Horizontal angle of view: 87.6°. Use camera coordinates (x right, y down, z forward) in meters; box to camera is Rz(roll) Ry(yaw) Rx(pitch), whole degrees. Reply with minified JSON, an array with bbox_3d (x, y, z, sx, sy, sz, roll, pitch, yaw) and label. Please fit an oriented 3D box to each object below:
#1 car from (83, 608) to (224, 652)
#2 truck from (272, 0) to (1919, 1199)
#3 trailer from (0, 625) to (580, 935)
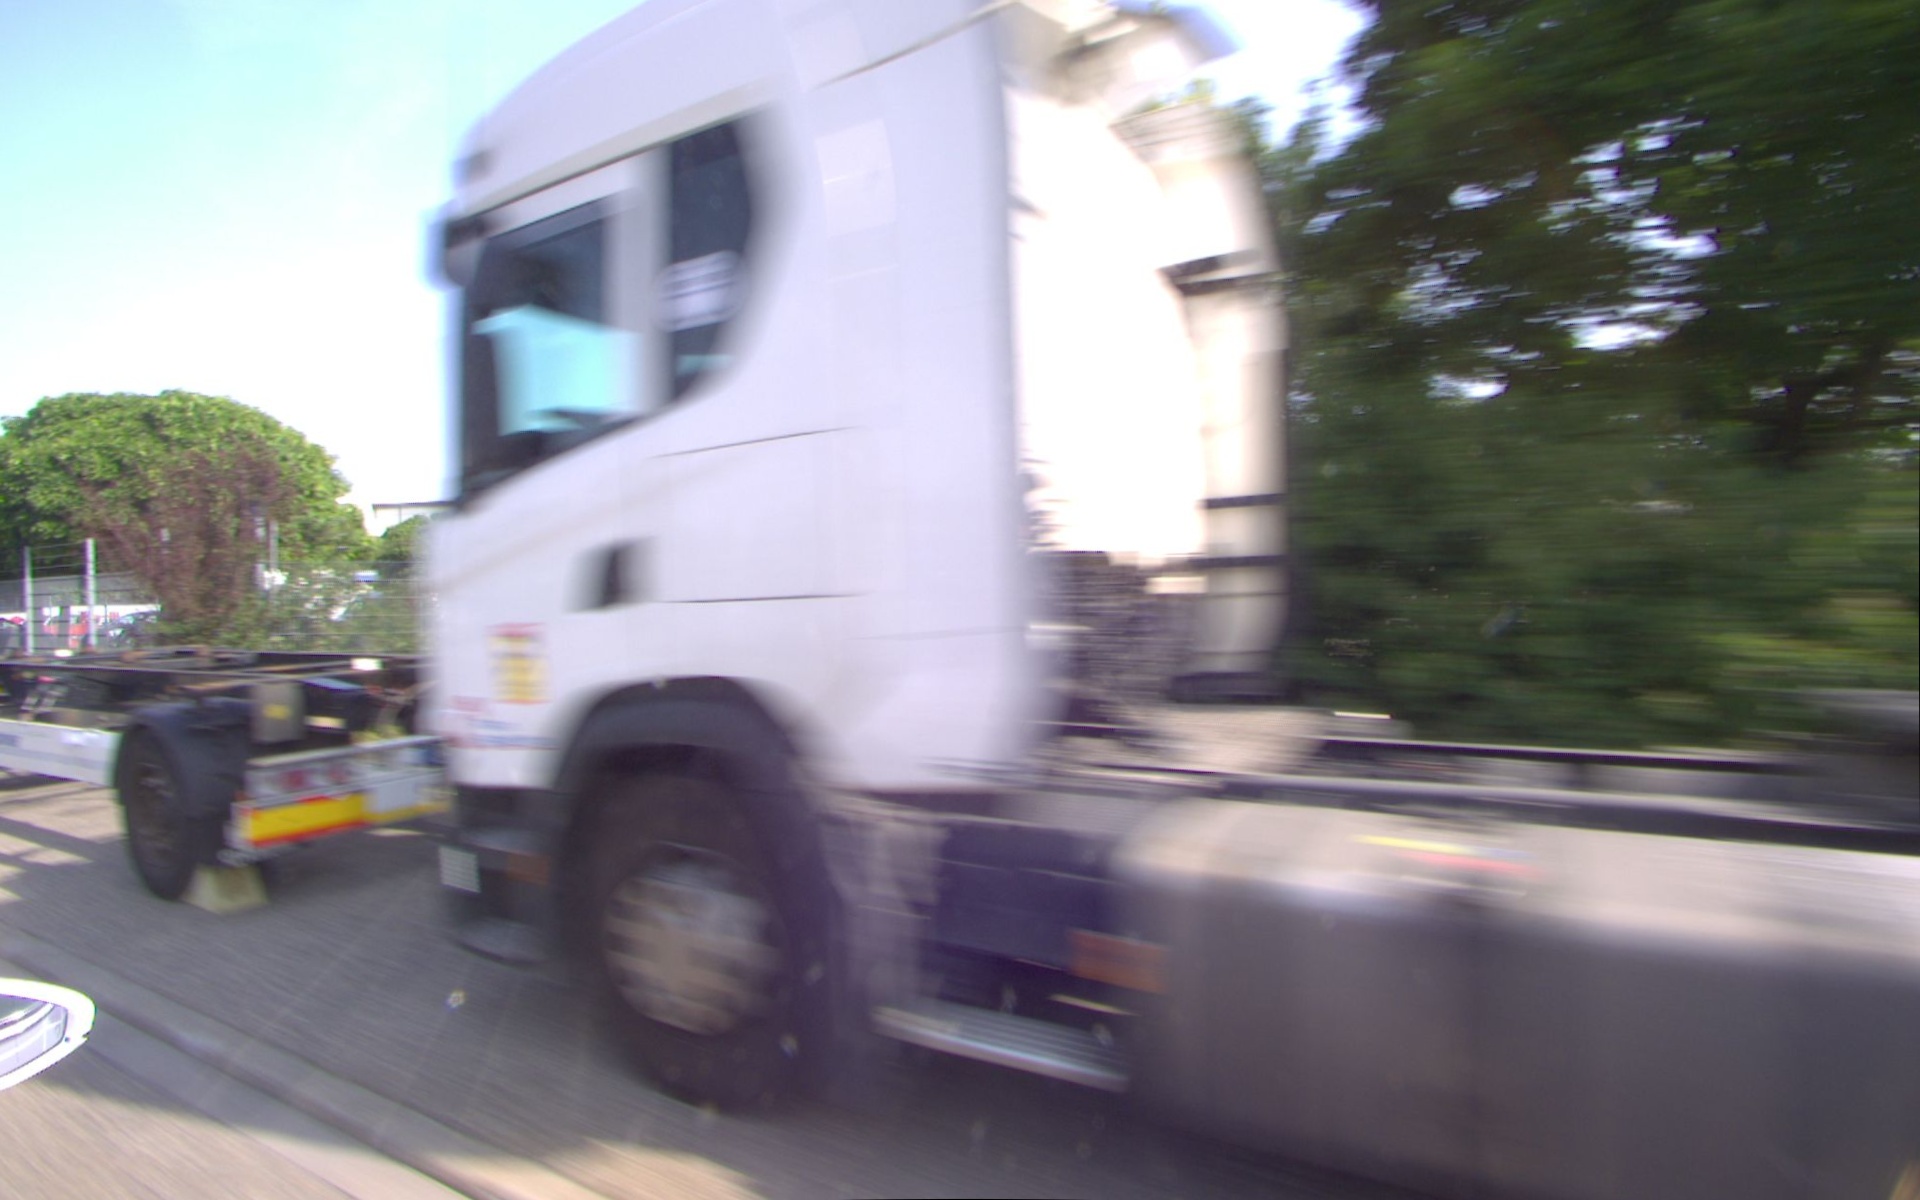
[{"bbox_3d":[-32.415,1.187,40.434,1.842,1.647,4.266,1,0,10],"label":"car"},{"bbox_3d":[0.986,-0.643,3.054,5.957,4.019,2.686,0,3,30],"label":"truck"},{"bbox_3d":[-5.945,0.873,7.231,7.343,1.252,1.934,-1,2,32],"label":"trailer"}]
